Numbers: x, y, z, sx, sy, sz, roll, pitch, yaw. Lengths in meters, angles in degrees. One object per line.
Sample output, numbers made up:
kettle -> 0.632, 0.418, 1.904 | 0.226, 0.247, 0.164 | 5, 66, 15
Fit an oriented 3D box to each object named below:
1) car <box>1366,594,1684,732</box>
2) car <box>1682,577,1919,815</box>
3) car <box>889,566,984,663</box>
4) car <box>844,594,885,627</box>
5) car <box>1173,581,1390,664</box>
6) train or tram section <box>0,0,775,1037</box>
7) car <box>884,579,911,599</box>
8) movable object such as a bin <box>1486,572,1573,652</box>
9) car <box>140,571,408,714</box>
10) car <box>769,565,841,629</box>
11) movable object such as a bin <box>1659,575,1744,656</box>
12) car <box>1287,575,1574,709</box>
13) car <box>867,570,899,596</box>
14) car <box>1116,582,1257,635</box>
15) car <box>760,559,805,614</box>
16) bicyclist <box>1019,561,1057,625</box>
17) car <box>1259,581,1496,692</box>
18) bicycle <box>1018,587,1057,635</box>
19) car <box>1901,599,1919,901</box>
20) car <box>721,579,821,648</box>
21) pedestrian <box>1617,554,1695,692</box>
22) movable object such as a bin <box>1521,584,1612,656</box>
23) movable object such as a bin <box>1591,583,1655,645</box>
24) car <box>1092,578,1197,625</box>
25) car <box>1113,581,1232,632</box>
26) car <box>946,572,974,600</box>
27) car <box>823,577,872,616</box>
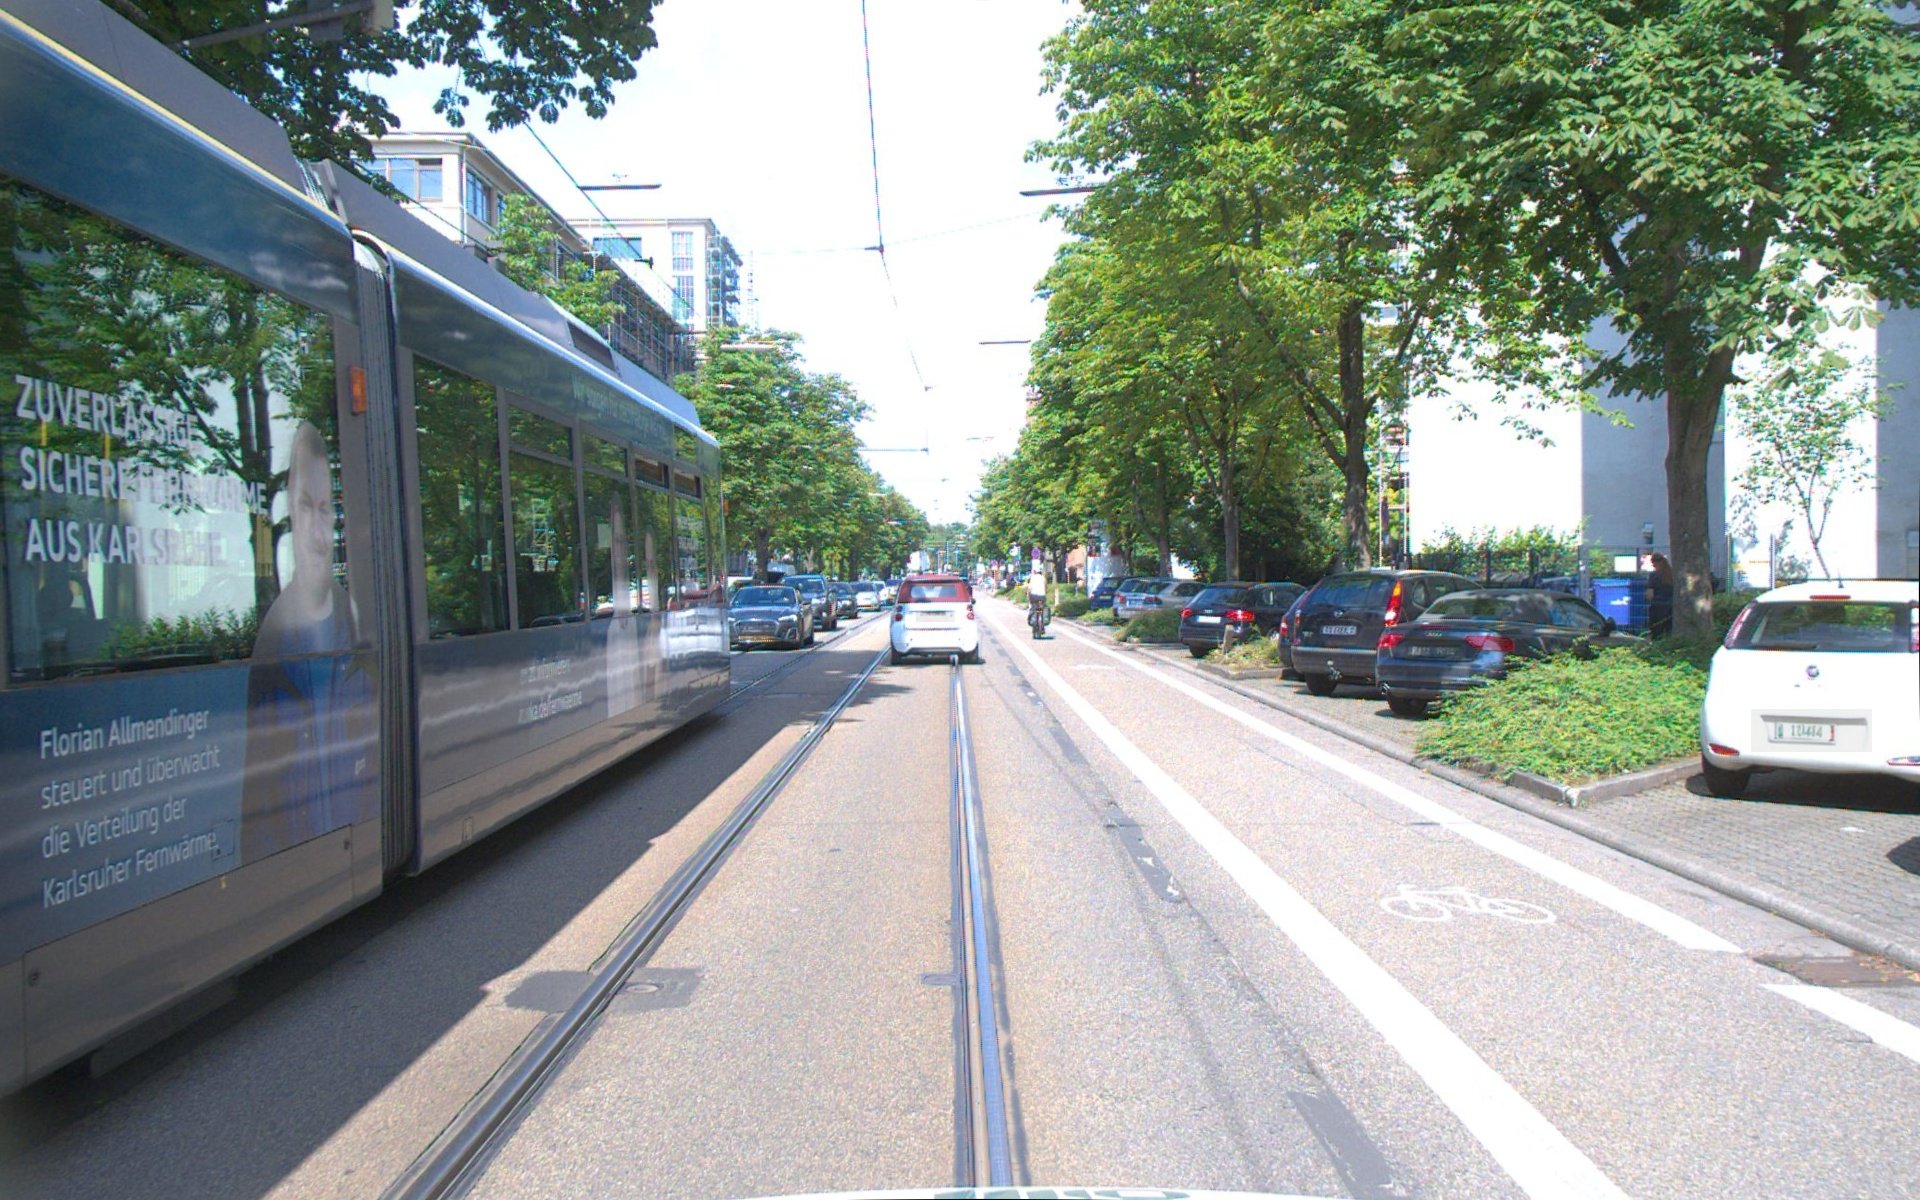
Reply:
car -> 6.562, 0.650, 18.987 | 1.873, 1.373, 4.146 | 1, 1, 44
car -> 6.863, 0.582, 12.275 | 1.509, 1.486, 3.973 | 0, 1, 43
car -> -0.421, 0.226, 30.273 | 1.631, 1.653, 3.620 | -1, 1, -1
car -> -4.569, 0.493, 79.611 | 1.737, 1.441, 3.851 | -3, 0, -1
car -> 6.264, 0.424, 31.864 | 1.997, 1.467, 4.505 | 1, 0, 44
train or tram section -> -3.527, -0.276, 12.535 | 2.599, 3.414, 14.107 | -2, 0, 0
car -> -4.861, -0.863, 129.069 | 1.763, 1.534, 4.537 | 0, 0, 1
movable object such as a bin -> 11.501, 0.230, 33.469 | 1.249, 1.566, 1.469 | 0, 0, 0
car -> -9.068, 0.507, 22.332 | 1.715, 1.694, 4.719 | 1, 0, -1
car -> -4.521, -0.088, 48.796 | 1.789, 1.757, 4.390 | 1, 0, -1
movable object such as a bin -> 14.060, 0.285, 31.398 | 1.346, 1.472, 1.264 | -2, 0, 21
car -> 6.294, 0.507, 21.919 | 3.967, 1.602, 1.876 | 1, 1, -43
car -> -4.403, -0.964, 95.307 | 1.652, 1.430, 4.226 | 0, 0, 0
car -> 6.658, 0.218, 48.424 | 4.201, 1.445, 1.700 | -1, 2, -39
car -> -9.086, -0.686, 85.186 | 1.733, 2.685, 5.321 | 1, 0, -1
bicyclist -> 1.950, -0.182, 41.346 | 0.871, 1.555, 1.086 | 1, 0, 6
car -> 6.448, 0.490, 25.295 | 1.698, 1.468, 4.046 | 3, 3, 45
bicycle -> 1.933, 0.260, 41.063 | 0.856, 1.145, 2.137 | 1, 0, 5
car -> 6.621, 0.725, 8.882 | 3.968, 1.474, 1.672 | -1, 1, -44
car -> -4.159, 0.256, 36.929 | 1.762, 1.412, 4.425 | -1, 1, -1
pedestrian -> 9.852, 0.317, 23.444 | 0.744, 1.906, 1.003 | 0, 0, 5
movable object such as a bin -> 11.640, 0.374, 31.791 | 1.249, 1.341, 1.325 | 0, 0, -1
movable object such as a bin -> 15.397, 0.318, 38.434 | 1.184, 1.361, 1.265 | -2, 0, 15
car -> 6.512, 0.039, 58.247 | 1.588, 1.512, 3.974 | -1, 1, 43
car -> 6.633, 0.190, 51.535 | 3.773, 1.500, 1.628 | 0, 2, -42
car -> -0.038, -0.875, 101.089 | 1.631, 1.653, 3.620 | -1, 1, -1
car -> -4.353, -0.140, 64.248 | 1.688, 1.400, 3.999 | -1, 0, -1
